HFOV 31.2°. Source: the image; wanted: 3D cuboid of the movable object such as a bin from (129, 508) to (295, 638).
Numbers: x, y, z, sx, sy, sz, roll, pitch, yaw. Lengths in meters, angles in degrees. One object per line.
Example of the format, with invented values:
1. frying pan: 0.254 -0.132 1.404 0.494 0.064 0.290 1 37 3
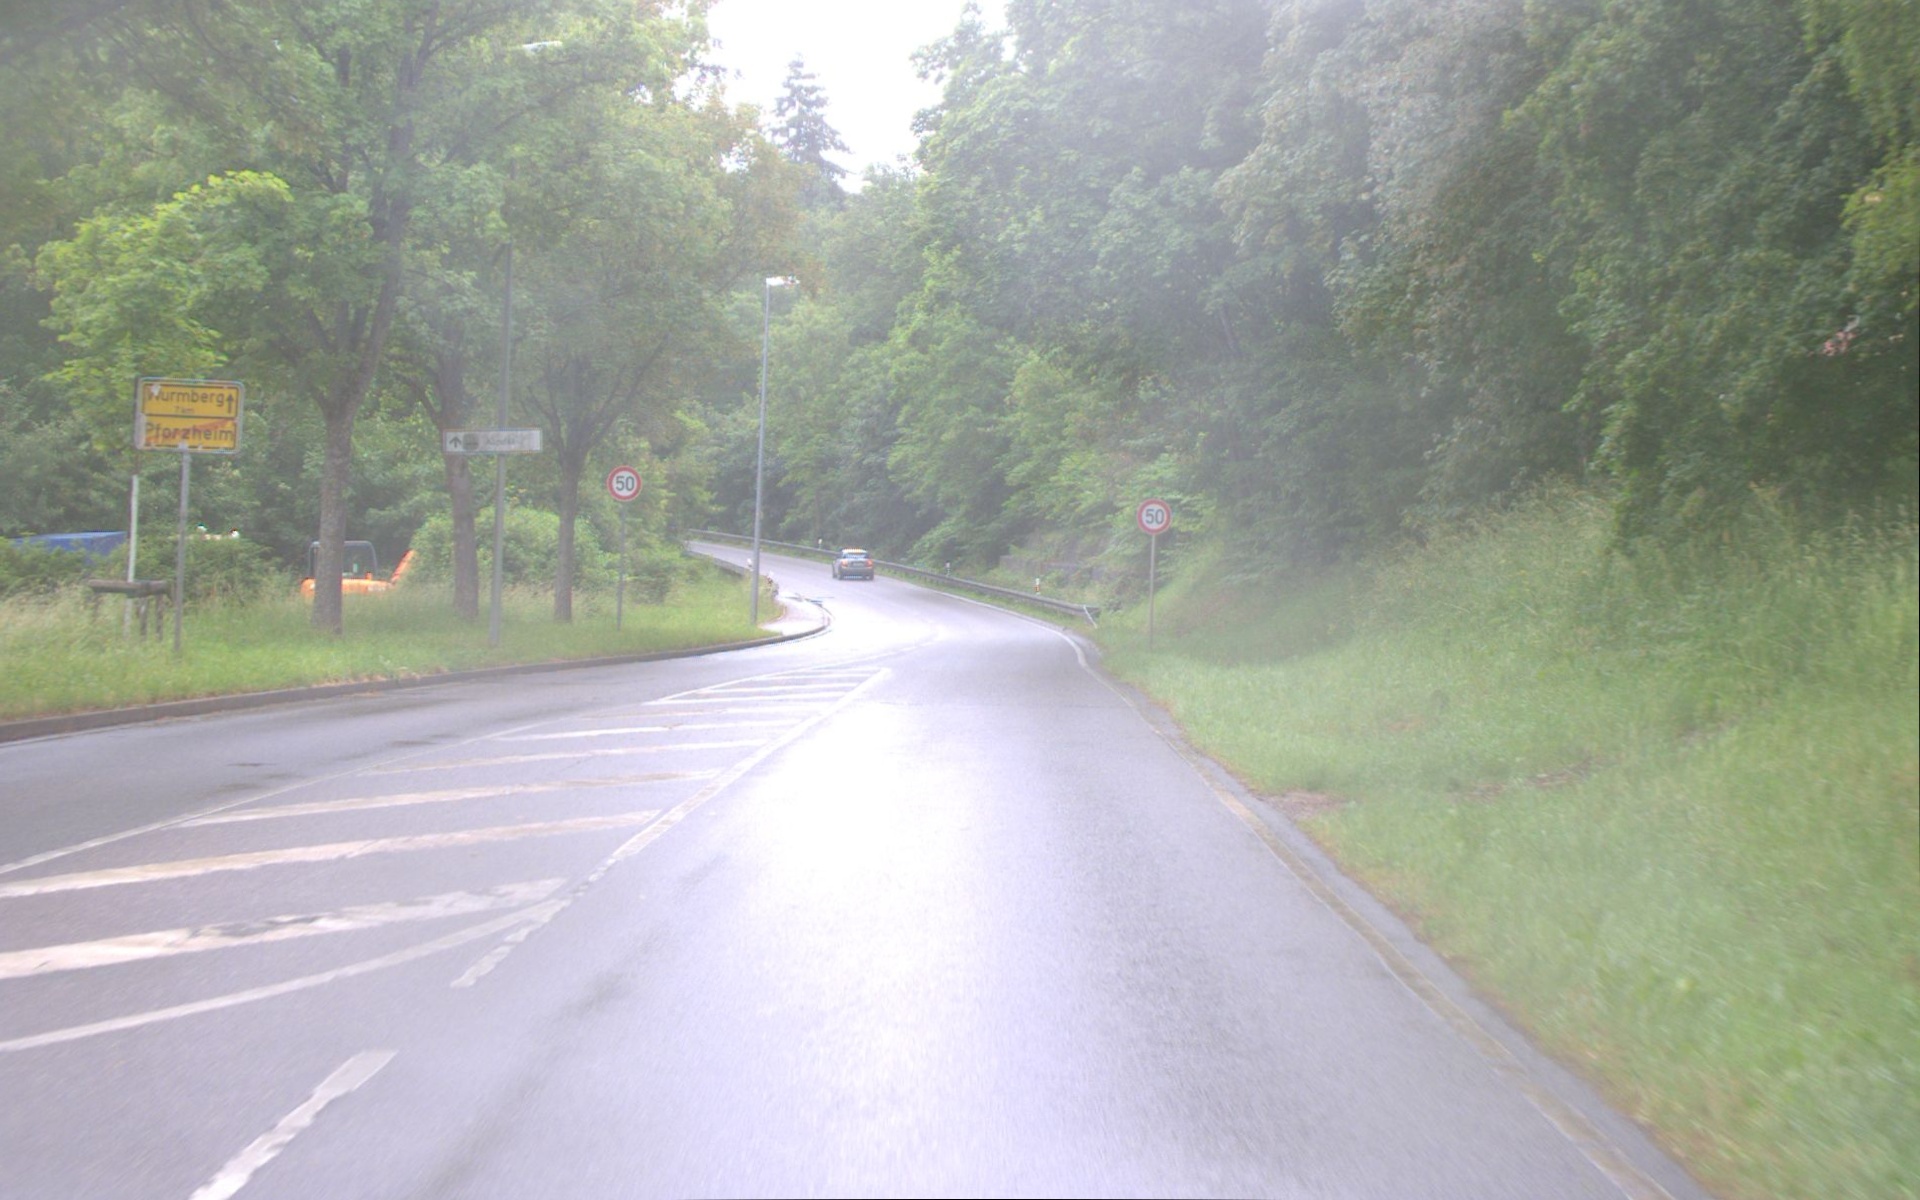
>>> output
1. movable object such as a bin: -17.171 -0.608 79.086 1.995 2.851 3.997 2 0 16

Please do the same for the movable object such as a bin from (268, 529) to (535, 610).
1. movable object such as a bin: -13.848 -0.732 85.970 1.849 1.901 7.893 1 0 32

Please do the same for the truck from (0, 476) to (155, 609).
1. truck: -17.468 -1.159 67.789 1.993 2.449 5.223 2 1 -2

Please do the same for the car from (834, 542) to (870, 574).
1. car: -5.356 -2.094 170.539 1.736 1.505 4.000 0 1 -1
